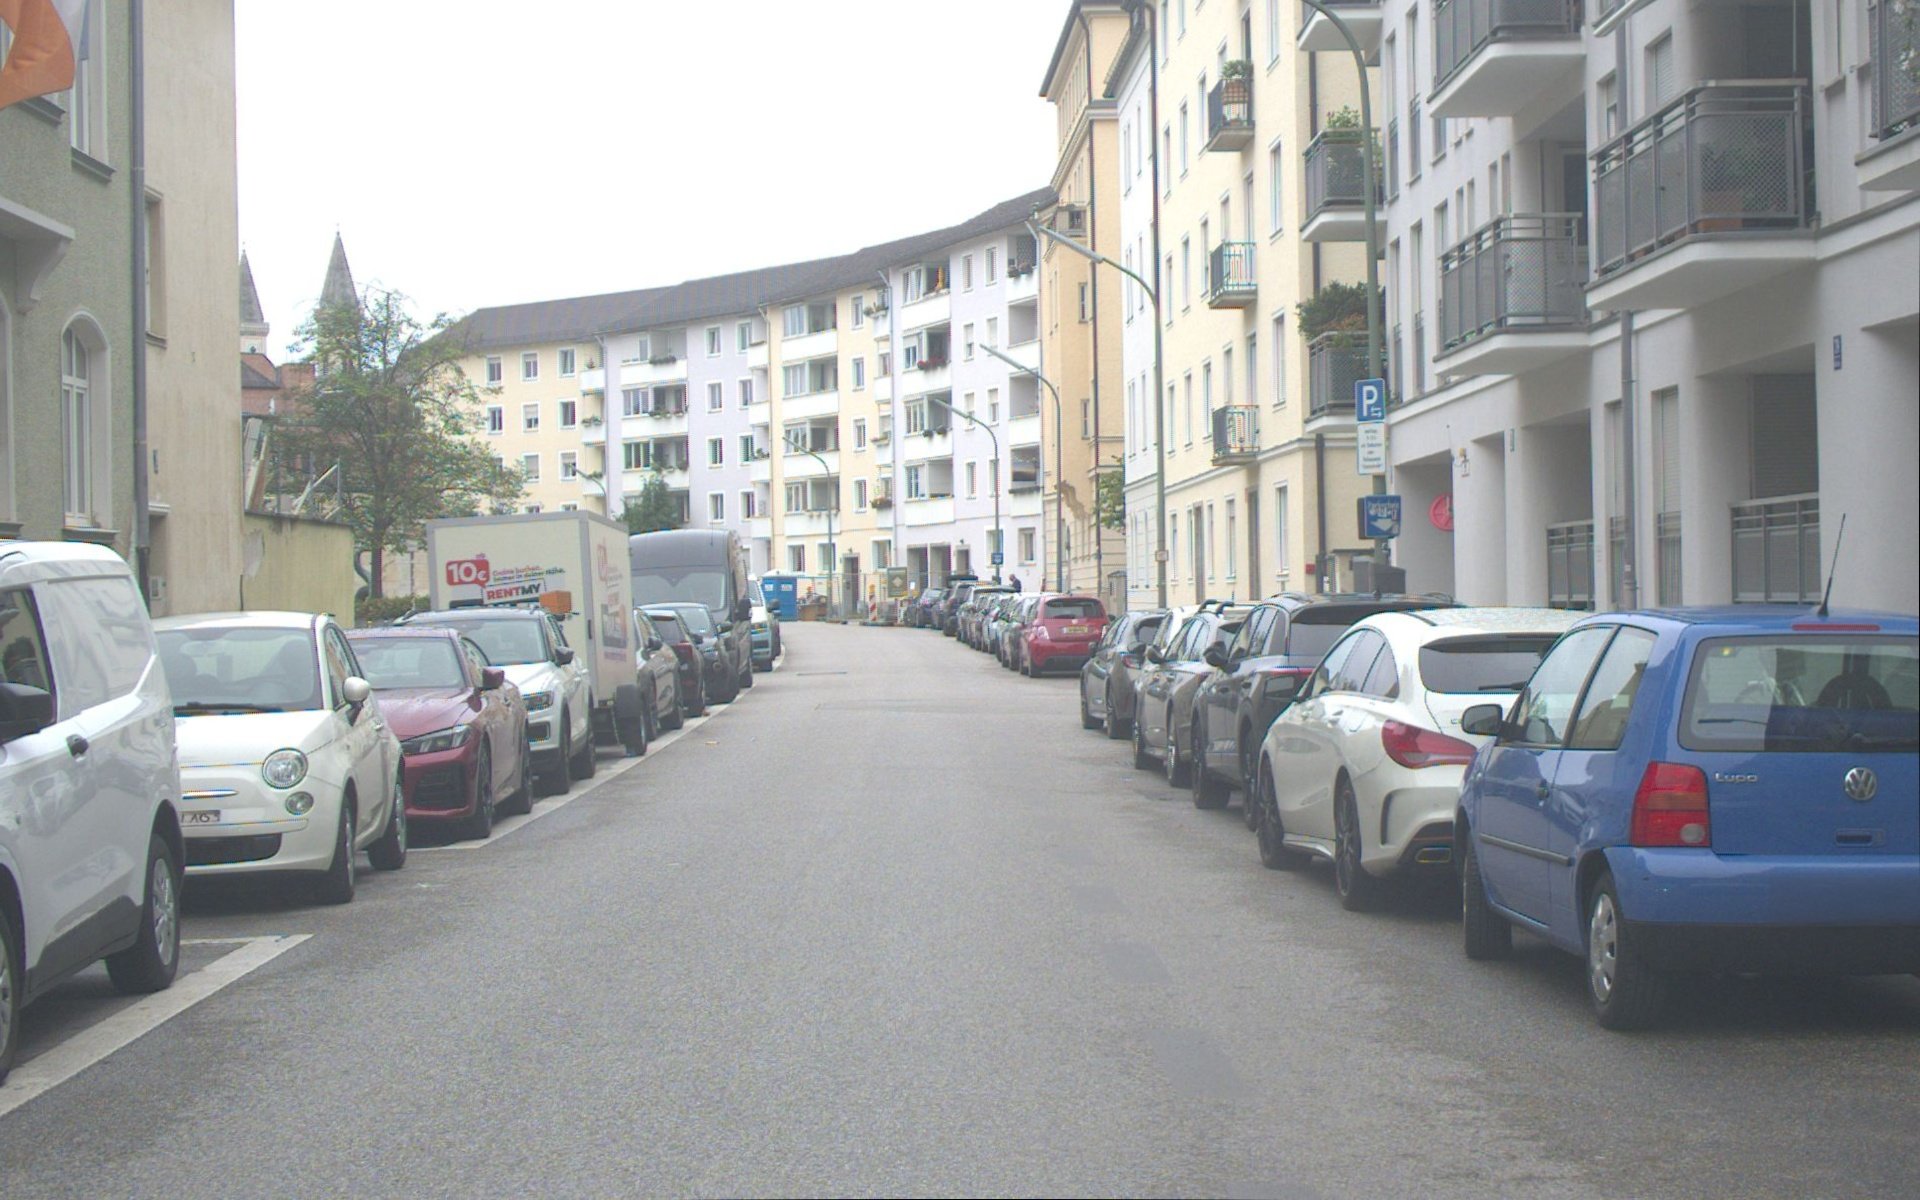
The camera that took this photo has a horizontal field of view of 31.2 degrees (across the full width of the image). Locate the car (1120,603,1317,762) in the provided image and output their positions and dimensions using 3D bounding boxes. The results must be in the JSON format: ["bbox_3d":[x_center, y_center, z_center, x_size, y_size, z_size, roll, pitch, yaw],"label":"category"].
[{"bbox_3d":[2.546,0.782,34.567,1.617,1.462,3.747,0,0,-1],"label":"car"}]

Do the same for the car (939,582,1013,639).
[{"bbox_3d":[0.479,0.306,108.868,2.169,1.733,5.024,0,0,-2],"label":"car"}]

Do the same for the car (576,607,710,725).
[{"bbox_3d":[-4.278,0.864,46.823,1.675,1.431,4.287,-2,0,-4],"label":"car"}]

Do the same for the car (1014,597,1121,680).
[{"bbox_3d":[1.941,0.684,63.015,1.654,1.425,3.756,0,0,-3],"label":"car"}]

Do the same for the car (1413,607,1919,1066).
[{"bbox_3d":[2.860,0.763,12.918,1.715,1.418,3.720,0,1,-2],"label":"car"}]

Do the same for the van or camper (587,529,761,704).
[{"bbox_3d":[-4.623,0.238,56.451,2.293,2.642,5.561,-2,0,0],"label":"van or camper"}]

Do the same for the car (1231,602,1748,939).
[{"bbox_3d":[2.513,0.779,17.369,1.664,1.462,4.376,-1,-1,-4],"label":"car"}]

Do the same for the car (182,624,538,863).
[{"bbox_3d":[-3.989,0.904,23.513,1.745,1.363,4.403,-2,1,-2],"label":"car"}]

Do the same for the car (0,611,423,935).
[{"bbox_3d":[-3.909,0.834,18.240,1.626,1.463,3.521,-2,1,-2],"label":"car"}]

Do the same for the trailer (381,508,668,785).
[{"bbox_3d":[-4.238,0.430,34.218,1.976,2.463,4.576,-3,0,2],"label":"trailer"}]

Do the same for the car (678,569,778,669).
[{"bbox_3d":[-4.722,0.343,69.568,1.914,1.953,4.962,0,1,-5],"label":"car"}]

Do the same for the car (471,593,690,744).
[{"bbox_3d":[-4.323,0.738,39.917,1.863,1.536,5.091,-2,0,1],"label":"car"}]

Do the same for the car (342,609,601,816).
[{"bbox_3d":[-4.055,0.891,29.103,1.679,1.525,4.107,-2,1,-2],"label":"car"}]

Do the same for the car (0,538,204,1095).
[{"bbox_3d":[-3.927,0.692,11.979,1.715,1.750,4.251,-2,1,-2],"label":"car"}]

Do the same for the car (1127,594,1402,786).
[{"bbox_3d":[2.483,0.700,29.066,1.791,1.477,4.604,0,0,-2],"label":"car"}]

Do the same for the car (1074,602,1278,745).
[{"bbox_3d":[2.374,0.779,38.687,1.771,1.471,4.218,0,1,-4],"label":"car"}]

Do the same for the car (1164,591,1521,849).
[{"bbox_3d":[2.508,0.742,23.475,1.837,1.527,4.022,-2,1,-2],"label":"car"}]

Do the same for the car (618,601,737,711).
[{"bbox_3d":[-4.224,0.808,51.425,1.652,1.492,3.909,-2,0,-5],"label":"car"}]

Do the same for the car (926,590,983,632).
[{"bbox_3d":[-0.205,0.375,118.883,1.630,1.412,3.680,0,0,-5],"label":"car"}]
